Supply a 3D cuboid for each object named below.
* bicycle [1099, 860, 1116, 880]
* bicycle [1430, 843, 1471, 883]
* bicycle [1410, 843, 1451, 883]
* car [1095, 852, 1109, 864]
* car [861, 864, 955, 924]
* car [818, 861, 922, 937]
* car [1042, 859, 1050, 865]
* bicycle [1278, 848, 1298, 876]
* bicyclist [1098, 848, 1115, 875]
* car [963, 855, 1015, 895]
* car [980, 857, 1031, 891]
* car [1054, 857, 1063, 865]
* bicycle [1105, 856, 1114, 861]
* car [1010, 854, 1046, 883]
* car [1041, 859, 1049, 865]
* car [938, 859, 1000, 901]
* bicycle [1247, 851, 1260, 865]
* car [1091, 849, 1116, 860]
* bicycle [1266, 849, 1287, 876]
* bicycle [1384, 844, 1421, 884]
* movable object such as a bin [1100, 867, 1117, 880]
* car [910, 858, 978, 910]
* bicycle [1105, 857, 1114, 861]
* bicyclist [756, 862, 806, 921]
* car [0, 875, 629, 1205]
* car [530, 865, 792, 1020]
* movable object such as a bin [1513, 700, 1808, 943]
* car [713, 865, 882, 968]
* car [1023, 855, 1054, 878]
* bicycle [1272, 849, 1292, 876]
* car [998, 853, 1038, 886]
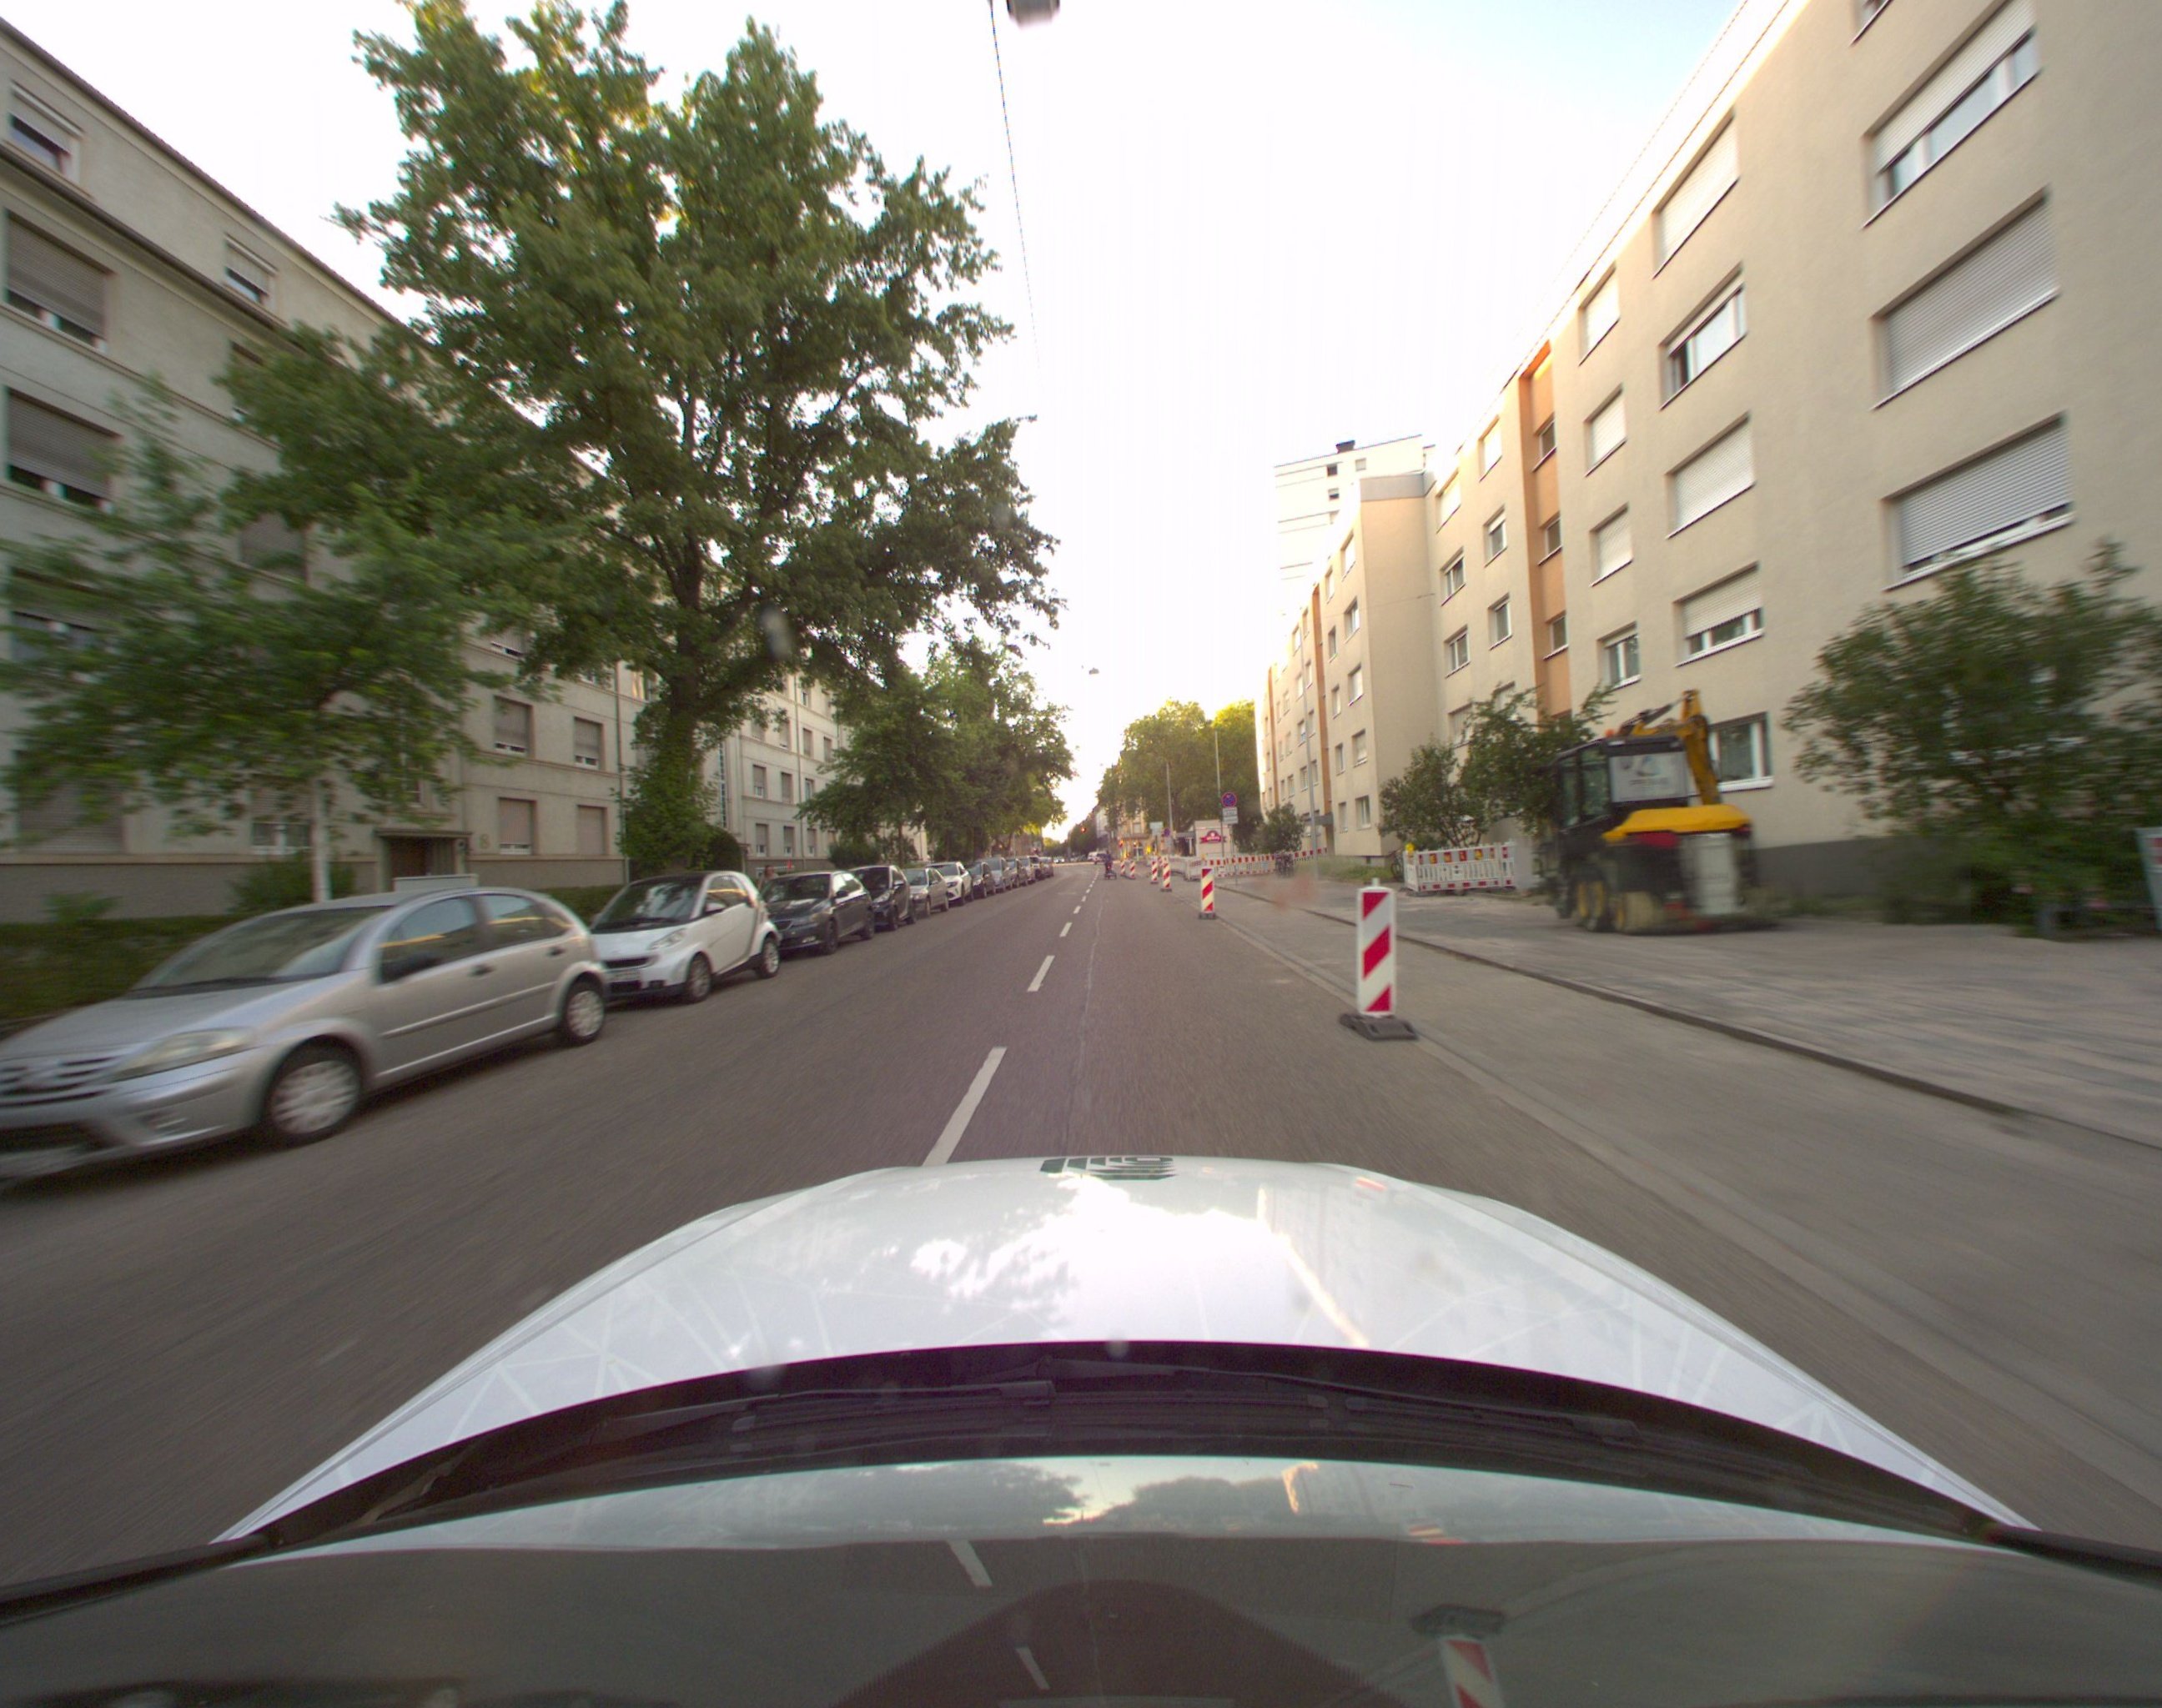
[{"bbox_3d":[1.692,0.999,52.178,0.936,1.172,2.358,-5,-1,0],"label":"bicycle"},{"bbox_3d":[11.471,0.270,25.336,0.553,1.172,1.819,-3,0,4],"label":"bicycle"},{"bbox_3d":[10.874,0.270,25.399,0.553,1.172,1.819,-3,0,4],"label":"bicycle"},{"bbox_3d":[3.265,0.611,127.175,1.860,1.815,4.000,-4,0,0],"label":"car"},{"bbox_3d":[-4.919,1.084,23.733,1.584,1.404,4.183,-6,0,2],"label":"car"},{"bbox_3d":[-4.964,1.006,19.554,1.518,1.529,3.164,-6,0,0],"label":"car"},{"bbox_3d":[-9.251,2.062,215.951,1.991,1.651,3.813,-1,-1,-6],"label":"car"},{"bbox_3d":[9.540,0.370,37.554,0.396,1.222,1.826,-2,0,0],"label":"bicycle"},{"bbox_3d":[1.642,0.477,52.205,0.936,1.581,1.146,-5,-1,0],"label":"bicyclist"},{"bbox_3d":[-4.214,0.918,37.828,1.701,1.600,4.118,-6,0,2],"label":"car"},{"bbox_3d":[-3.890,0.996,42.629,1.724,1.497,4.277,-5,0,6],"label":"car"},{"bbox_3d":[-5.342,1.686,194.066,1.779,1.651,3.813,-1,-1,-6],"label":"car"},{"bbox_3d":[6.419,1.038,182.833,1.909,0.968,0.545,-3,0,0],"label":"bicycle"},{"bbox_3d":[-3.538,0.928,55.345,1.947,1.719,4.772,-5,0,1],"label":"car"},{"bbox_3d":[-9.831,2.144,223.662,1.991,1.651,3.813,-1,-1,-6],"label":"car"},{"bbox_3d":[-4.526,1.006,33.414,1.701,1.452,3.845,-6,0,2],"label":"car"},{"bbox_3d":[13.293,0.315,62.583,0.539,0.968,1.825,-3,0,25],"label":"bicycle"},{"bbox_3d":[5.161,0.070,189.384,5.855,2.288,2.047,-3,0,-42],"label":"car"},{"bbox_3d":[9.016,0.385,37.542,0.450,1.222,1.911,-2,0,0],"label":"bicycle"},{"bbox_3d":[10.165,0.307,25.812,0.553,1.172,1.819,-3,0,4],"label":"bicycle"},{"bbox_3d":[1.711,1.212,50.494,0.936,0.689,0.993,-5,-1,-1],"label":"movable object such as a bin"},{"bbox_3d":[-4.801,1.005,29.023,1.585,1.538,4.205,-6,0,-1],"label":"car"},{"bbox_3d":[6.460,1.154,183.110,1.909,0.968,0.545,-3,0,0],"label":"bicycle"},{"bbox_3d":[-7.503,0.920,20.401,0.805,1.404,0.974,-2,0,1],"label":"bicyclist"},{"bbox_3d":[-5.328,1.031,6.066,1.584,1.505,3.800,-6,0,1],"label":"car"},{"bbox_3d":[-5.186,1.011,10.499,1.583,1.529,2.924,-6,0,4],"label":"car"},{"bbox_3d":[7.419,-0.365,10.815,1.923,2.693,2.896,-3,0,6],"label":"movable object such as a bin"},{"bbox_3d":[-5.072,1.037,15.190,1.585,1.466,4.101,-6,0,0],"label":"car"},{"bbox_3d":[-3.269,0.934,63.184,1.947,1.616,4.606,-5,0,1],"label":"car"},{"bbox_3d":[9.292,0.378,37.627,0.396,1.222,1.911,-2,0,0],"label":"bicycle"},{"bbox_3d":[-3.670,0.881,48.089,1.841,1.690,4.858,-5,0,0],"label":"car"}]
